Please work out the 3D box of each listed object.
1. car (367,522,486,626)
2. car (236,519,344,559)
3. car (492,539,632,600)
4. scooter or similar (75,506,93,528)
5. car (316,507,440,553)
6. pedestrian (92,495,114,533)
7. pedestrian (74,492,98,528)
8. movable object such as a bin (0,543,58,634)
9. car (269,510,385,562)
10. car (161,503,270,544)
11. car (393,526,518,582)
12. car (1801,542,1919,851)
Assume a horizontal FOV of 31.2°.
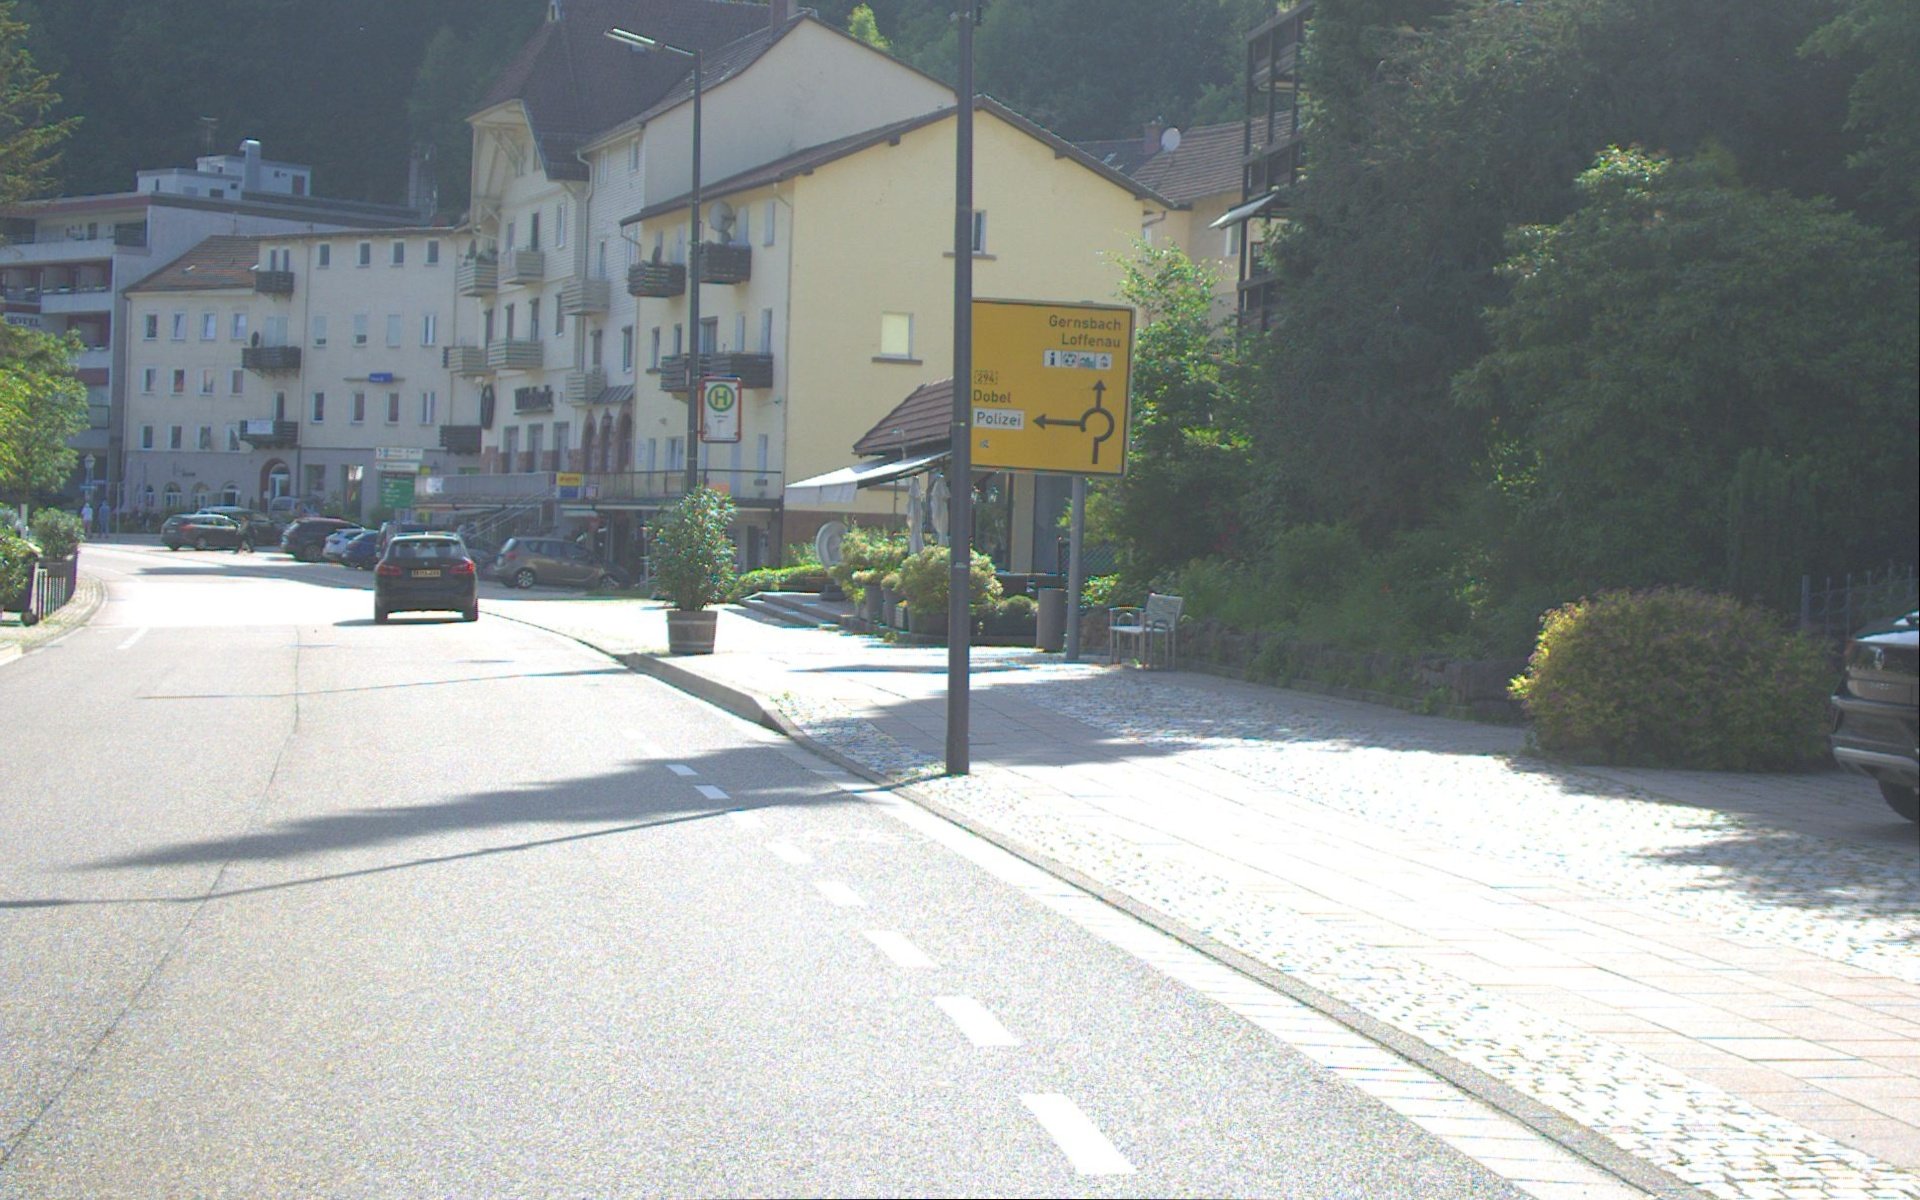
[{"bbox_3d":[-9.434,-0.487,60.596,1.726,1.569,3.754,3,2,-13],"label":"car"},{"bbox_3d":[-27.572,-2.527,141.477,4.011,1.511,1.772,-2,5,-39],"label":"car"},{"bbox_3d":[-12.227,-0.933,105.598,3.858,1.549,1.761,4,0,-21],"label":"car"},{"bbox_3d":[-39.686,-3.776,155.812,0.596,0.947,0.474,2,1,-42],"label":"scooter or similar"},{"bbox_3d":[-21.979,-2.626,129.734,4.355,1.456,1.773,3,-1,-17],"label":"car"},{"bbox_3d":[-39.116,-3.926,156.945,0.669,1.722,0.707,2,1,-41],"label":"pedestrian"},{"bbox_3d":[-39.590,-4.069,155.713,0.757,1.588,0.628,2,1,-41],"label":"pedestrian"},{"bbox_3d":[-15.606,-0.197,57.104,1.078,1.422,1.377,4,1,-12],"label":"movable object such as a bin"},{"bbox_3d":[-24.648,-2.492,133.859,4.082,1.660,1.773,5,0,-19],"label":"car"},{"bbox_3d":[-30.959,-3.168,142.948,3.987,1.656,2.000,0,2,-29],"label":"car"},{"bbox_3d":[-17.400,-1.595,118.557,3.908,1.583,1.775,4,1,-19],"label":"car"},{"bbox_3d":[6.757,0.520,18.603,3.874,1.574,1.749,1,1,-7],"label":"car"}]
